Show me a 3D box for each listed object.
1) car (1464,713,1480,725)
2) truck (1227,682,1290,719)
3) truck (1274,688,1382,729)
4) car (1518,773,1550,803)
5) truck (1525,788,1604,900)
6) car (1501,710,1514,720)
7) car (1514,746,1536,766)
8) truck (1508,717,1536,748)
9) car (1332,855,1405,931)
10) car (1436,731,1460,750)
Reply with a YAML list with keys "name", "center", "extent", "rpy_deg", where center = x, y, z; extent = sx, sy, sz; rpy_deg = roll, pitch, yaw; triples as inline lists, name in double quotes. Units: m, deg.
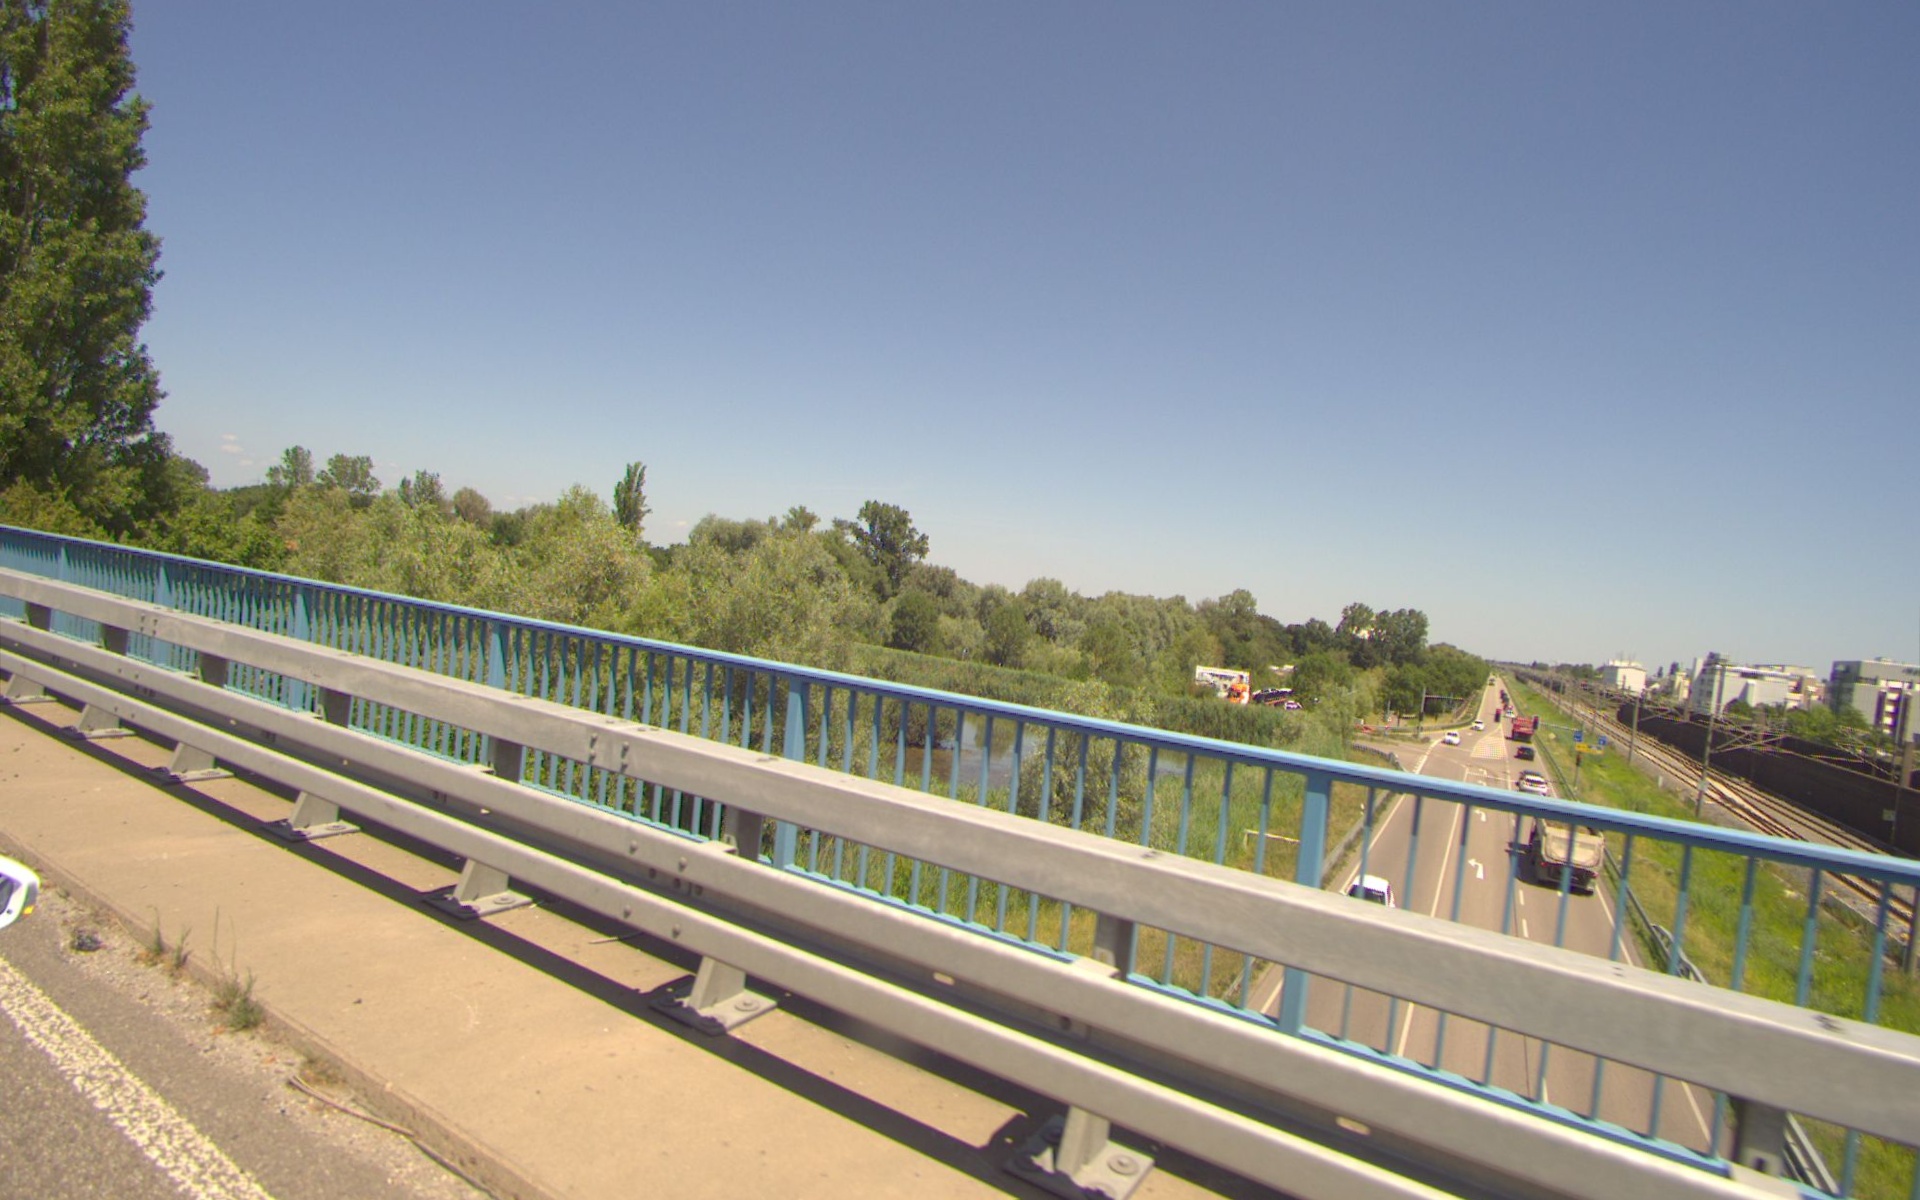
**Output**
- name: "car"
  center: [90.980, 21.156, 178.706]
  extent: [1.967, 1.638, 4.234]
  rpy_deg: [9, 1, 32]
- name: "truck"
  center: [35.525, 11.952, 119.825]
  extent: [6.693, 3.398, 2.001]
  rpy_deg: [6, 0, 9]
- name: "truck"
  center: [43.955, 12.942, 120.233]
  extent: [12.241, 3.398, 1.998]
  rpy_deg: [7, 0, -7]
- name: "car"
  center: [47.050, 15.355, 82.441]
  extent: [1.966, 1.638, 4.236]
  rpy_deg: [9, 1, 30]
- name: "truck"
  center: [31.632, 12.533, 53.021]
  extent: [2.826, 3.467, 11.918]
  rpy_deg: [8, 1, 30]
- name: "car"
  center: [112.226, 23.528, 206.077]
  extent: [1.966, 1.638, 4.236]
  rpy_deg: [9, 1, 30]
- name: "car"
  center: [65.339, 18.035, 116.395]
  extent: [1.965, 1.638, 4.237]
  rpy_deg: [9, 1, 28]
- name: "truck"
  center: [82.376, 19.336, 147.631]
  extent: [2.825, 3.467, 10.974]
  rpy_deg: [8, 1, 28]
- name: "car"
  center: [16.035, 11.388, 39.398]
  extent: [1.966, 1.638, 4.237]
  rpy_deg: [9, 1, 29]
- name: "car"
  center: [57.766, 16.581, 119.077]
  extent: [1.967, 1.638, 4.234]
  rpy_deg: [9, 1, 32]
